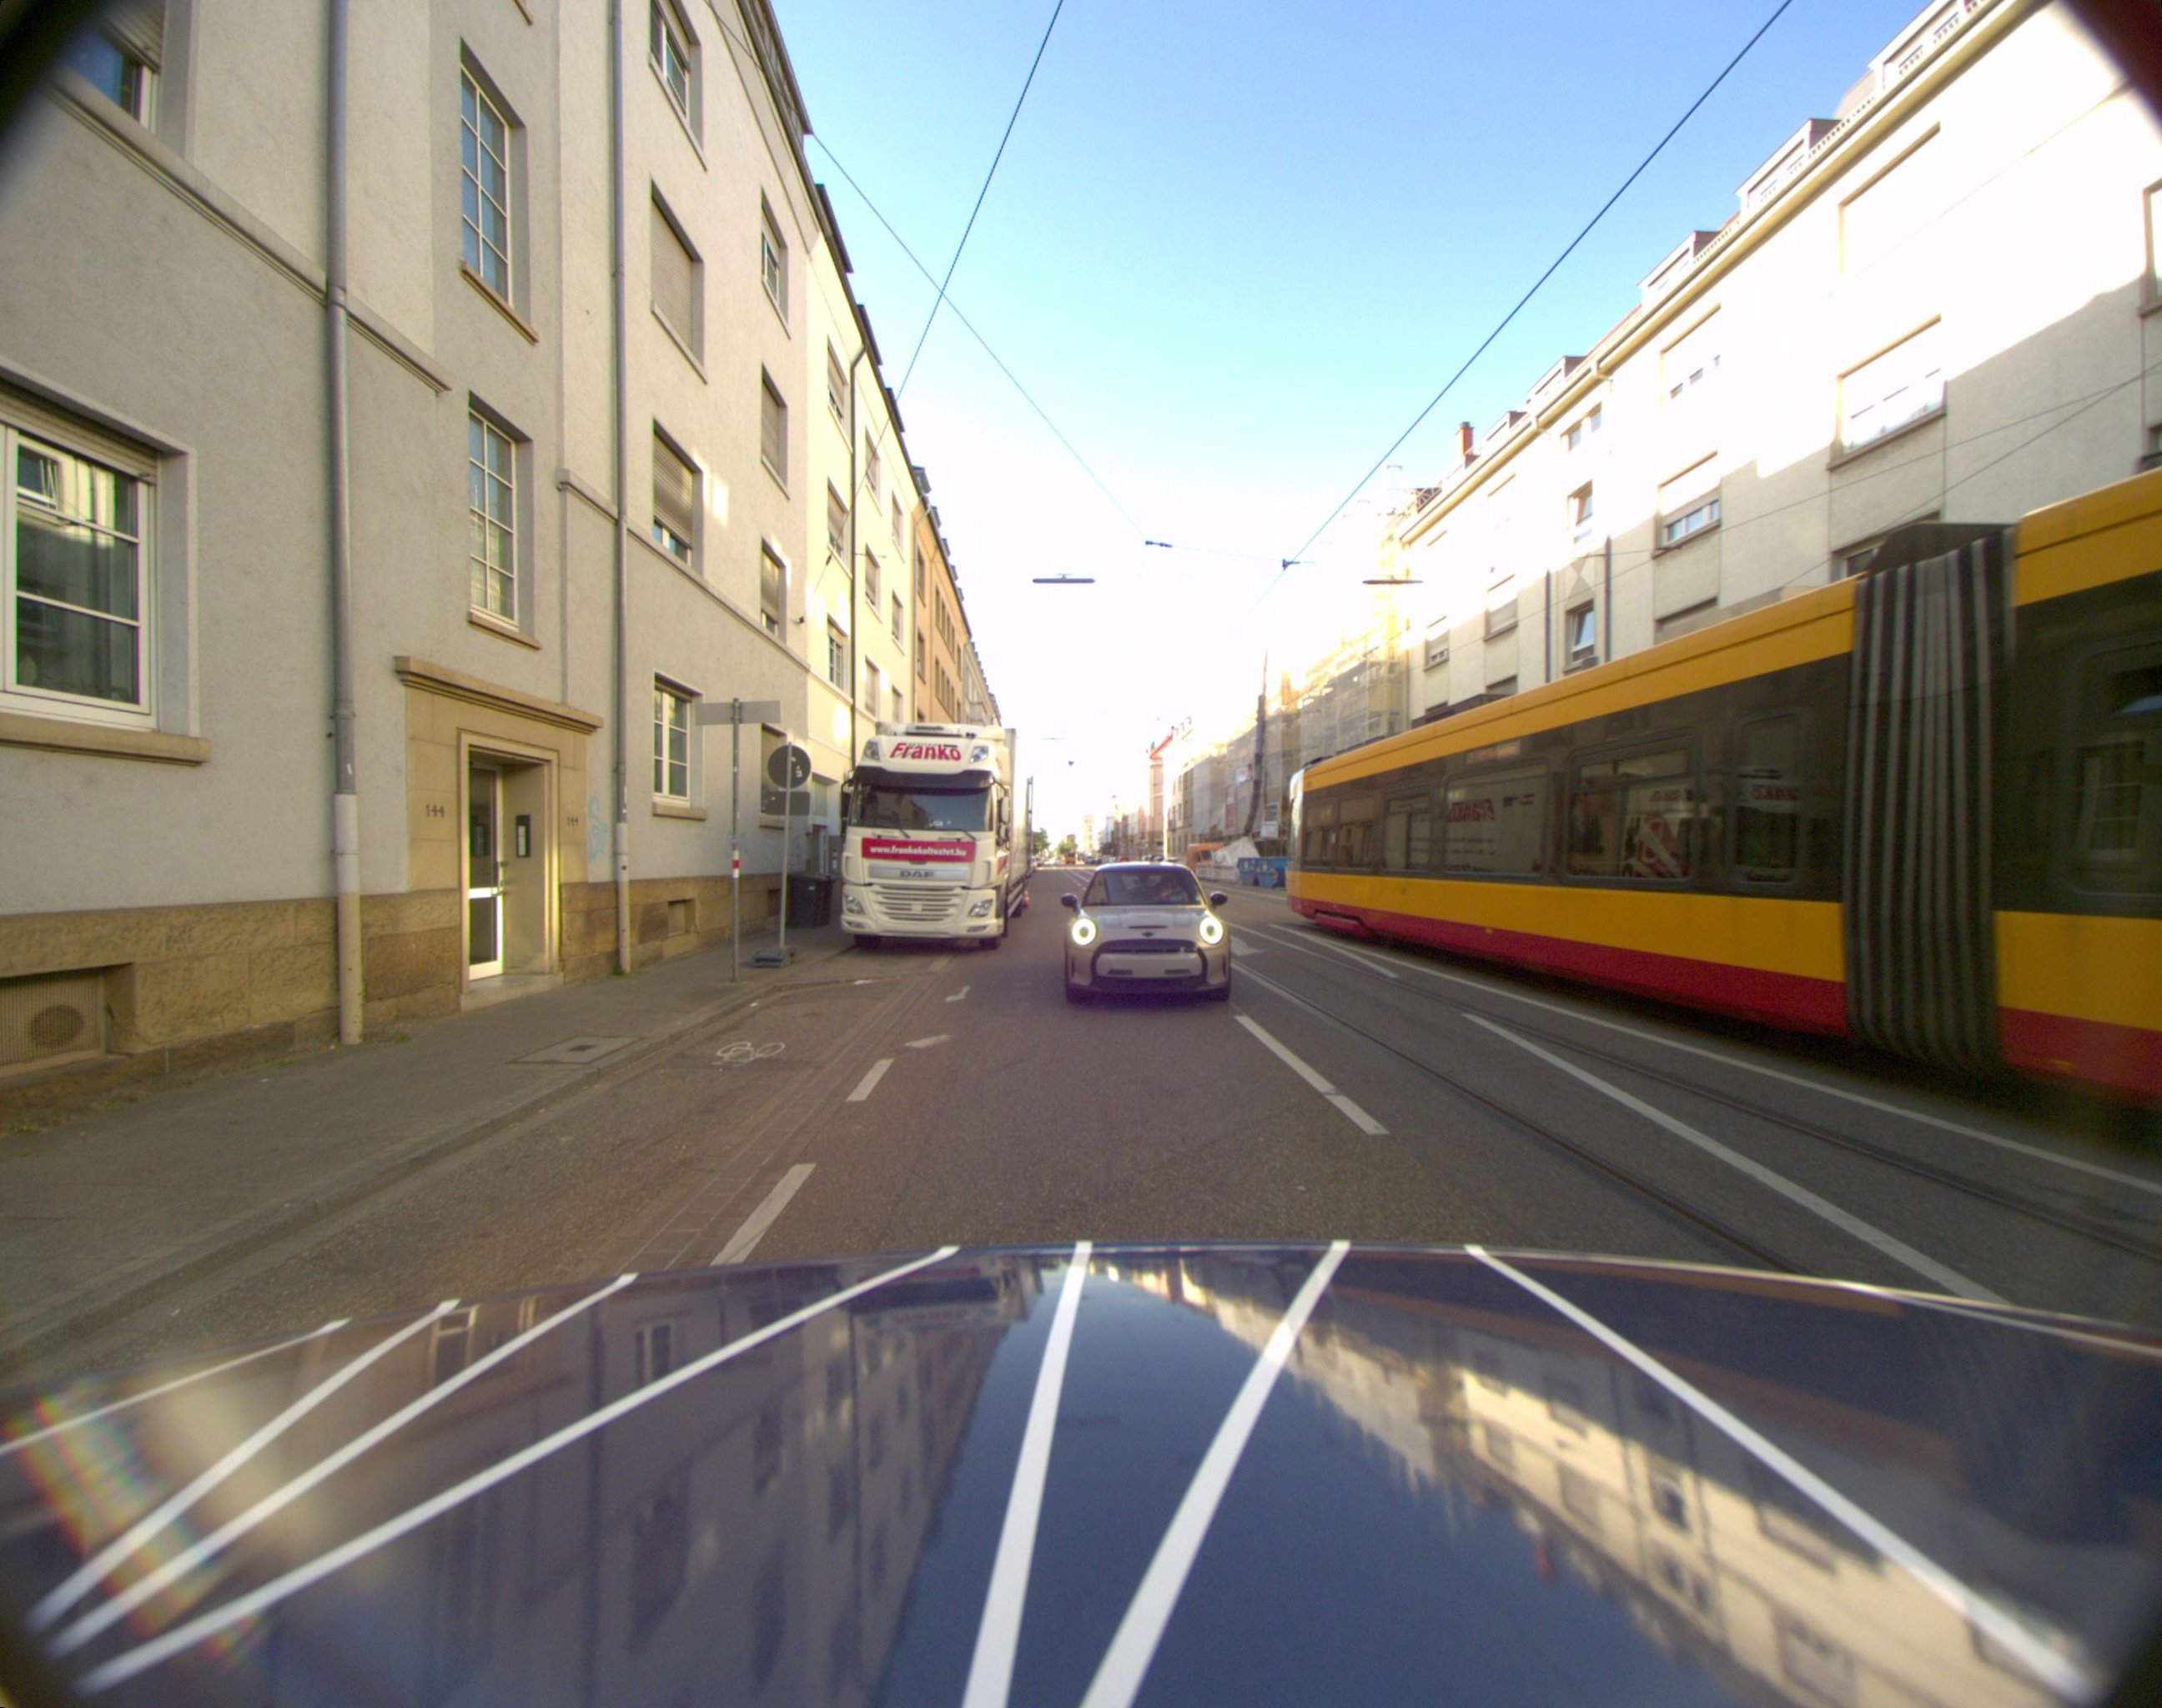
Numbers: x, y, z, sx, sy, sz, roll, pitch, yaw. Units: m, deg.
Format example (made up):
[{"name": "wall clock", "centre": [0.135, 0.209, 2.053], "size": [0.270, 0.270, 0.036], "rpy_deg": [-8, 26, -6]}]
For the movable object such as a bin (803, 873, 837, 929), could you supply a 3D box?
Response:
[{"name": "movable object such as a bin", "centre": [-5.351, 0.959, 15.587], "size": [0.512, 1.085, 0.495], "rpy_deg": [-2, 1, -4]}]

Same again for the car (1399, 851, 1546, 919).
[{"name": "car", "centre": [10.474, 0.750, 20.720], "size": [1.712, 1.582, 4.112], "rpy_deg": [-2, 1, -3]}]

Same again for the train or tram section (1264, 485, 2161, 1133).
[{"name": "train or tram section", "centre": [5.875, -0.260, 10.575], "size": [3.070, 3.573, 12.626], "rpy_deg": [1, 0, -2]}]

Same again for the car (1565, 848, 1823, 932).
[{"name": "car", "centre": [10.902, 0.555, 13.857], "size": [1.751, 1.269, 3.488], "rpy_deg": [-2, 1, -4]}]

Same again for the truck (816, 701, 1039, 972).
[{"name": "truck", "centre": [-2.597, -0.256, 17.172], "size": [2.899, 3.939, 11.704], "rpy_deg": [-2, 0, -2]}]

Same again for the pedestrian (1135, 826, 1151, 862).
[{"name": "pedestrian", "centre": [7.662, -1.288, 94.408], "size": [1.723, 4.377, 1.153], "rpy_deg": [-2, 1, 2]}]

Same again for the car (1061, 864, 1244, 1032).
[{"name": "car", "centre": [0.660, 0.892, 9.031], "size": [1.692, 1.495, 4.000], "rpy_deg": [0, 0, 0]}]

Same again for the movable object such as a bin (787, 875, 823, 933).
[{"name": "movable object such as a bin", "centre": [-5.432, 0.974, 14.972], "size": [0.512, 1.085, 0.495], "rpy_deg": [-2, 1, -4]}]
